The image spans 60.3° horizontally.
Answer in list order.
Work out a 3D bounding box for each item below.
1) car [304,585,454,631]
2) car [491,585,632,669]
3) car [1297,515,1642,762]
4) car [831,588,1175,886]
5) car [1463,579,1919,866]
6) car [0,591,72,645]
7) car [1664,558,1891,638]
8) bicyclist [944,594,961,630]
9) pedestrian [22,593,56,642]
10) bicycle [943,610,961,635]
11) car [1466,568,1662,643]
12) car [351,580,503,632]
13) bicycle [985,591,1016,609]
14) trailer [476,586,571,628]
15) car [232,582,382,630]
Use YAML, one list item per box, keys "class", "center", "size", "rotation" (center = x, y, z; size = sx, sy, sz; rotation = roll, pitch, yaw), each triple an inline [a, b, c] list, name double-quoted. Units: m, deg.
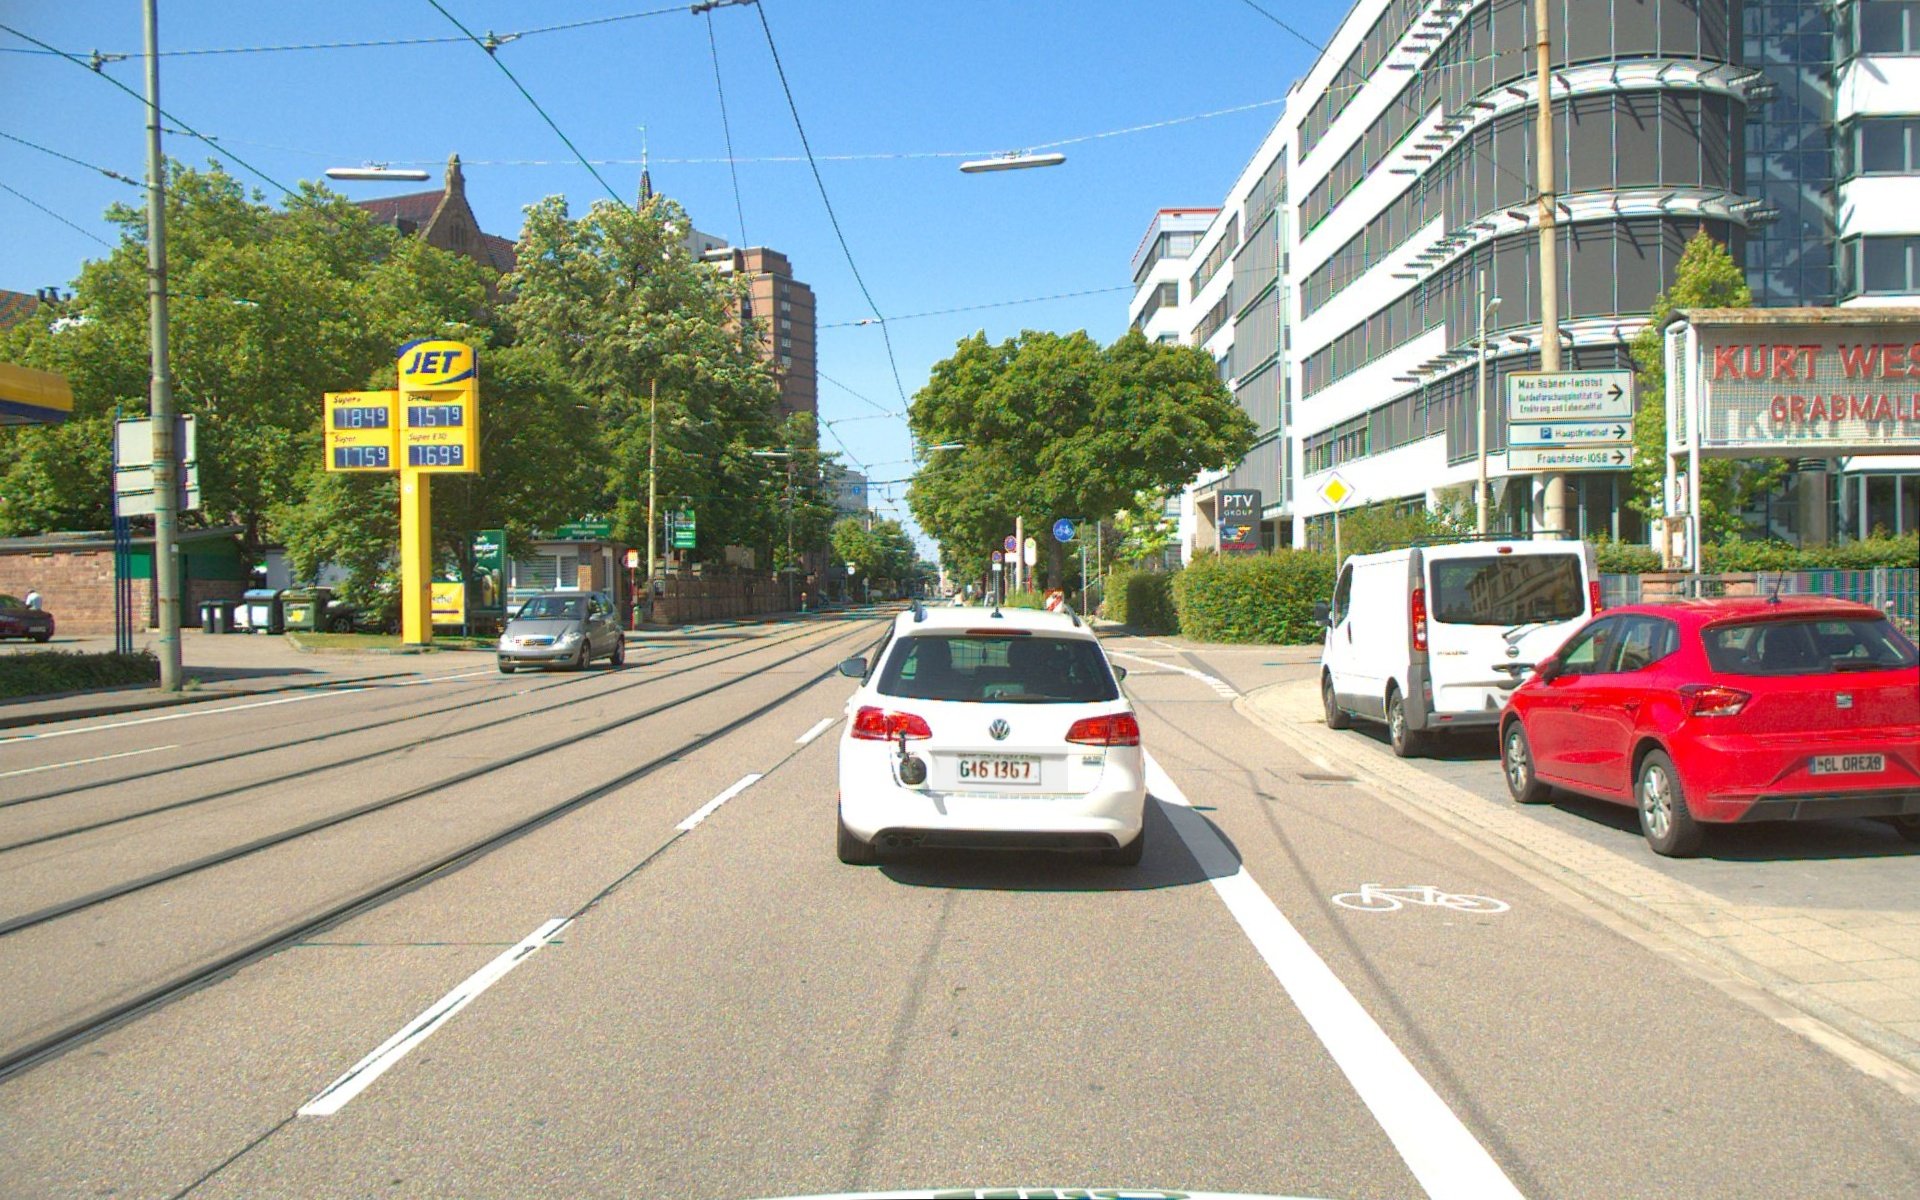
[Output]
- class: "car"
  center: [-19.978, 0.242, 56.991]
  size: [1.916, 1.493, 4.547]
  rotation: [0, 0, 44]
- class: "car"
  center: [-8.217, 0.542, 34.436]
  size: [1.709, 1.598, 3.893]
  rotation: [-2, 0, 4]
- class: "car"
  center: [5.027, 0.324, 17.192]
  size: [1.936, 2.090, 5.191]
  rotation: [-3, 0, 0]
- class: "car"
  center: [0.232, 0.679, 10.575]
  size: [1.718, 1.467, 4.413]
  rotation: [1, 1, 0]
- class: "car"
  center: [4.873, 0.643, 11.059]
  size: [1.686, 1.468, 4.312]
  rotation: [-3, 0, 1]
- class: "car"
  center: [-28.676, 0.512, 49.251]
  size: [4.076, 1.554, 1.936]
  rotation: [0, 0, 26]
- class: "car"
  center: [16.991, -0.049, 34.477]
  size: [3.905, 1.574, 1.658]
  rotation: [-1, 0, 0]
- class: "bicyclist"
  center: [-0.366, 0.547, 77.401]
  size: [0.769, 1.658, 0.738]
  rotation: [0, -1, 0]
- class: "pedestrian"
  center: [-28.834, 0.547, 51.796]
  size: [0.662, 1.494, 0.640]
  rotation: [-1, 0, 8]
- class: "bicycle"
  center: [-0.382, 1.048, 77.512]
  size: [0.794, 1.097, 2.012]
  rotation: [0, 0, 1]
- class: "car"
  center: [12.590, 0.100, 34.601]
  size: [3.519, 1.498, 1.592]
  rotation: [-1, 0, 0]
- class: "car"
  center: [-17.879, 0.173, 55.611]
  size: [1.916, 1.653, 4.547]
  rotation: [0, 0, 44]
- class: "bicycle"
  center: [2.483, 0.012, 101.624]
  size: [1.873, 1.102, 0.550]
  rotation: [1, 0, -3]
- class: "trailer"
  center: [-16.781, 0.258, 63.726]
  size: [3.149, 1.552, 1.778]
  rotation: [0, 0, 1]
- class: "car"
  center: [-22.846, 0.184, 57.981]
  size: [1.917, 1.611, 4.546]
  rotation: [0, 0, 44]
